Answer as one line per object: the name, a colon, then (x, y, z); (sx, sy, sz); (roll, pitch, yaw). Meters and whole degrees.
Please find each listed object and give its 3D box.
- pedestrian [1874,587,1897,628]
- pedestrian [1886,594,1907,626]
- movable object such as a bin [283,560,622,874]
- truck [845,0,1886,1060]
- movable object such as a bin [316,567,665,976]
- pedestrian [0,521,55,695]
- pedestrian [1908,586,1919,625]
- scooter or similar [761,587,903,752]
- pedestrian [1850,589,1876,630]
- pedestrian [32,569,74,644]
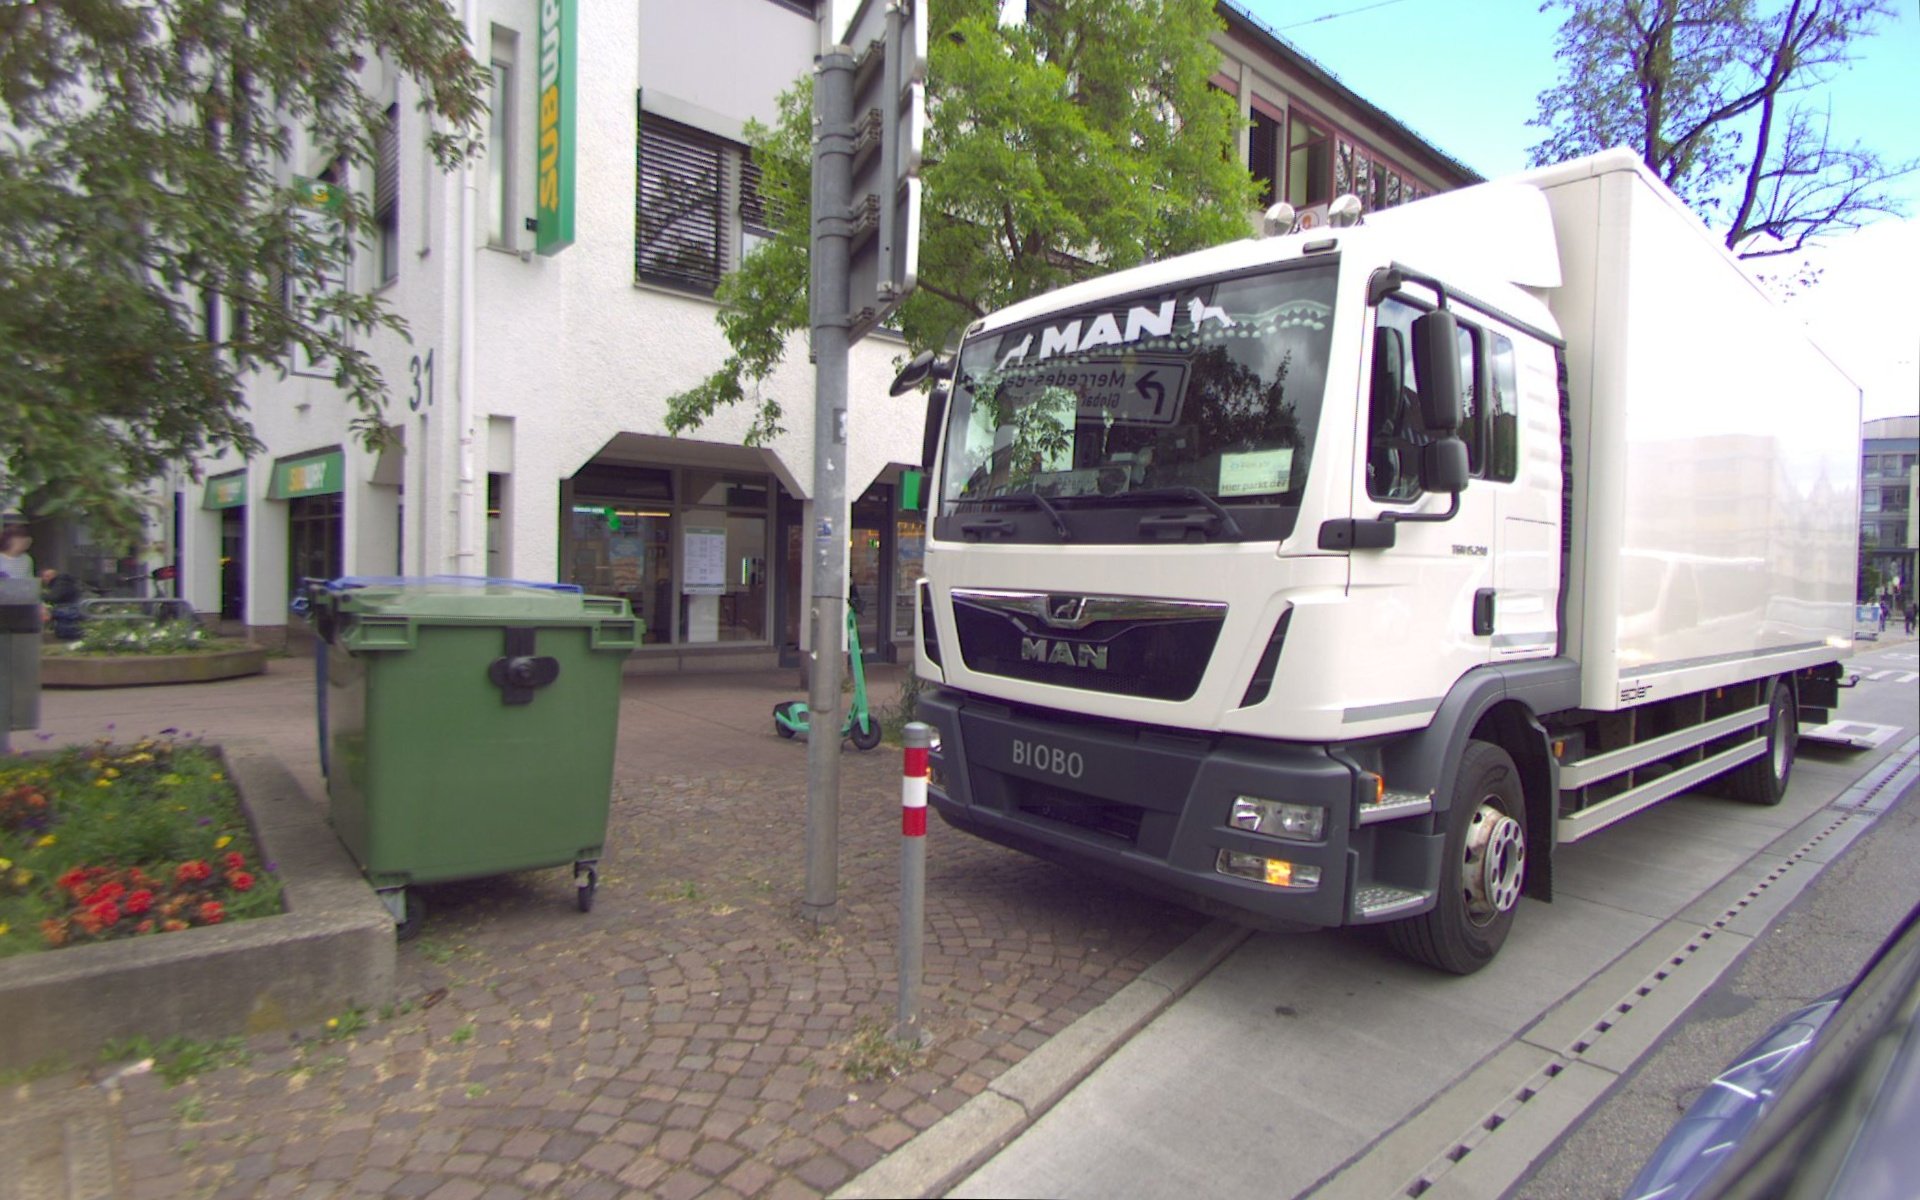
pedestrian: (38.257, 0.296, 41.846); (0.605, 1.654, 0.613); (0, 3, -44)
pedestrian: (48.754, 0.527, 52.676); (0.838, 1.655, 0.689); (1, 1, -42)
movable object such as a bin: (-2.651, 0.497, 5.275); (1.351, 1.356, 1.146); (1, 2, -39)
truck: (3.945, -0.524, 7.066); (9.597, 3.605, 2.693); (0, 1, -42)
movable object such as a bin: (-1.884, 0.564, 4.053); (1.066, 1.356, 0.883); (1, 2, -39)
pedestrian: (-9.202, 0.063, 9.685); (0.504, 1.622, 0.620); (2, 1, 3)
pedestrian: (41.731, 0.245, 44.009); (0.604, 1.698, 0.613); (1, 2, -39)
scooter or similar: (-1.057, 0.521, 8.227); (1.174, 1.211, 0.454); (3, 2, 40)
pedestrian: (37.814, 0.389, 42.377); (0.605, 1.654, 0.719); (0, 3, -44)
pedestrian: (-15.112, 0.094, 16.861); (0.504, 1.215, 0.619); (1, 1, -43)
